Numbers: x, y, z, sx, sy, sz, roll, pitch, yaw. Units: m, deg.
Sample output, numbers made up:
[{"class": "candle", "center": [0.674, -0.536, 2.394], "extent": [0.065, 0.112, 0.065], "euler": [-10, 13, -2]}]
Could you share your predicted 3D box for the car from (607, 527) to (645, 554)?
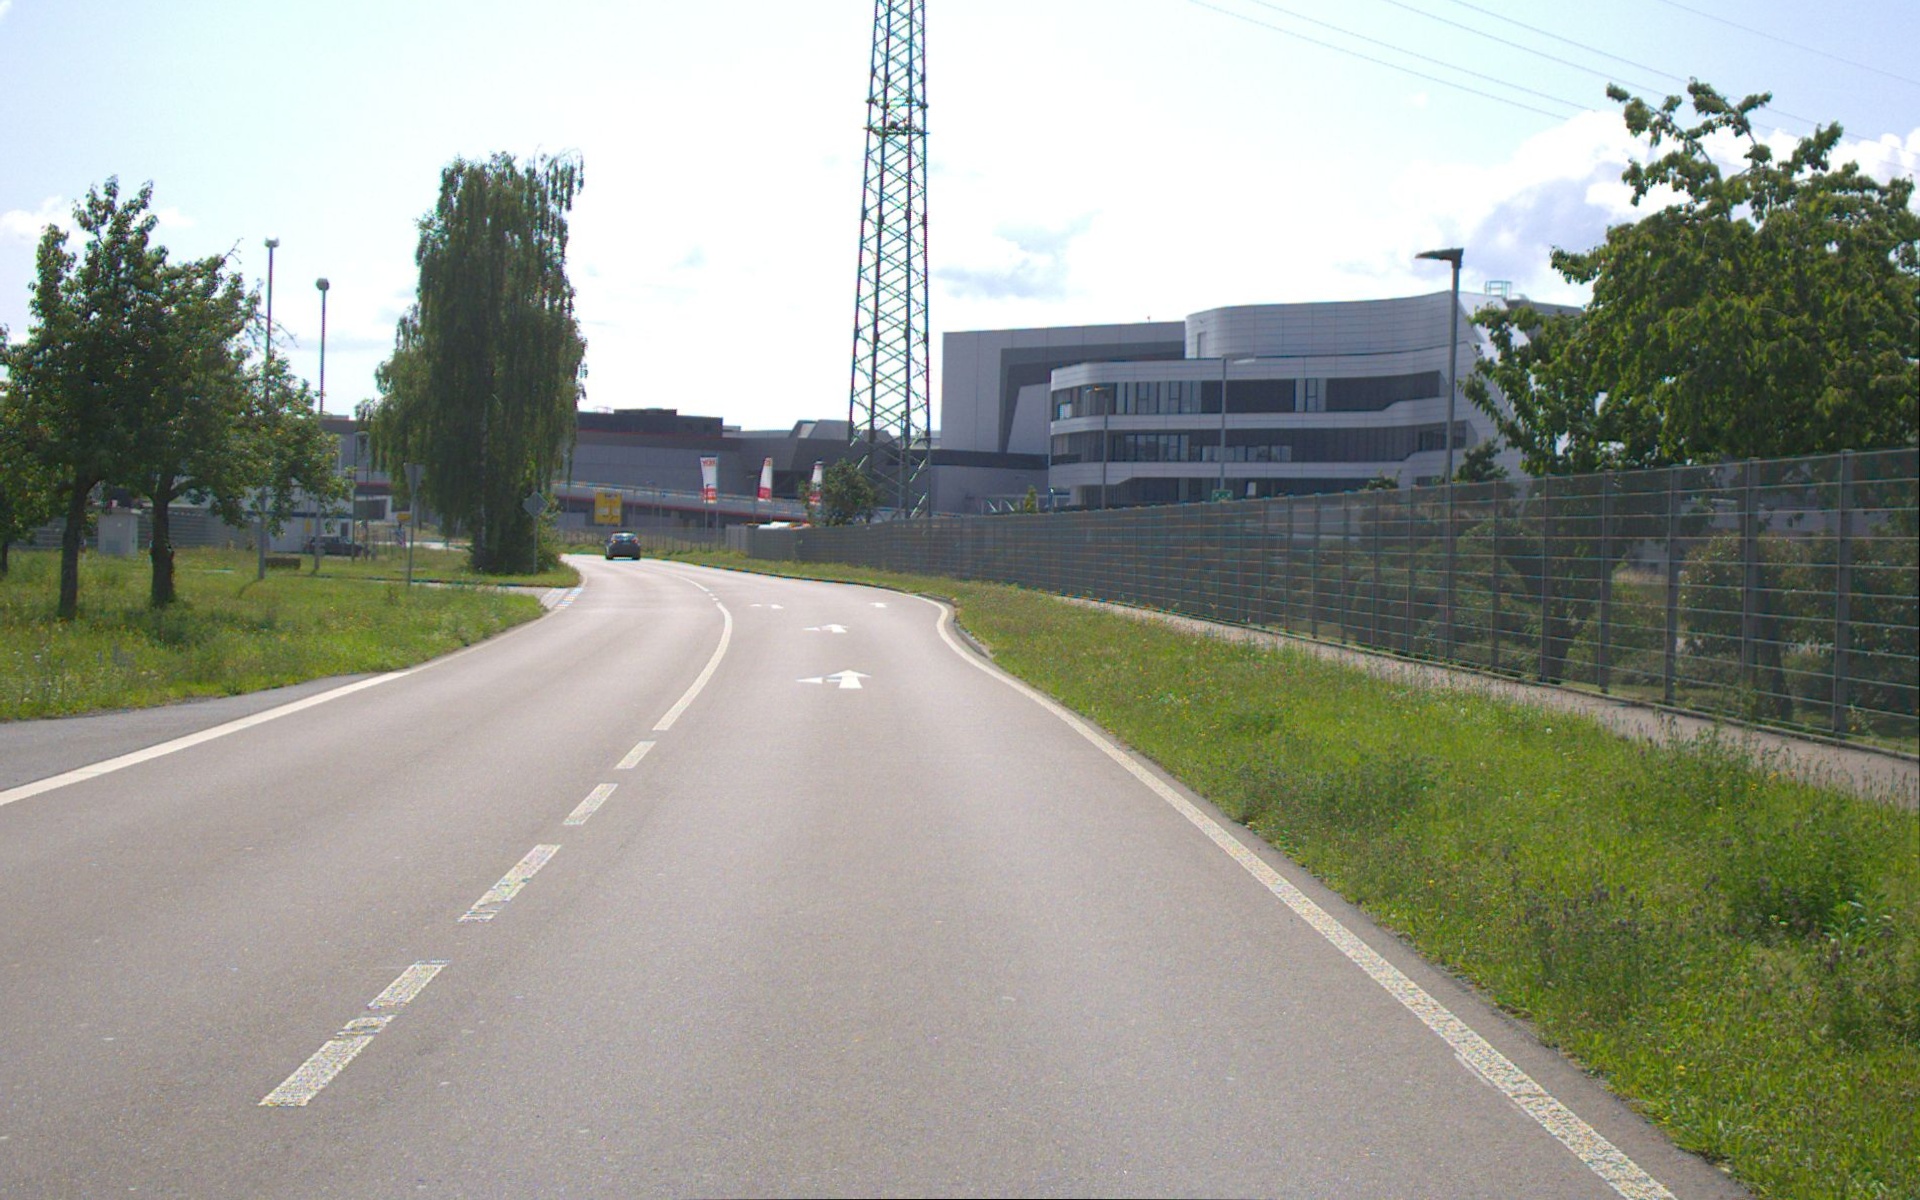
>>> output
[{"class": "car", "center": [-19.496, -3.500, 200.807], "extent": [2.012, 1.503, 4.001], "euler": [2, 1, -4]}]

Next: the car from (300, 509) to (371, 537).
[{"class": "car", "center": [-36.244, -4.489, 199.700], "extent": [3.986, 1.568, 2.001], "euler": [1, 2, -8]}]
